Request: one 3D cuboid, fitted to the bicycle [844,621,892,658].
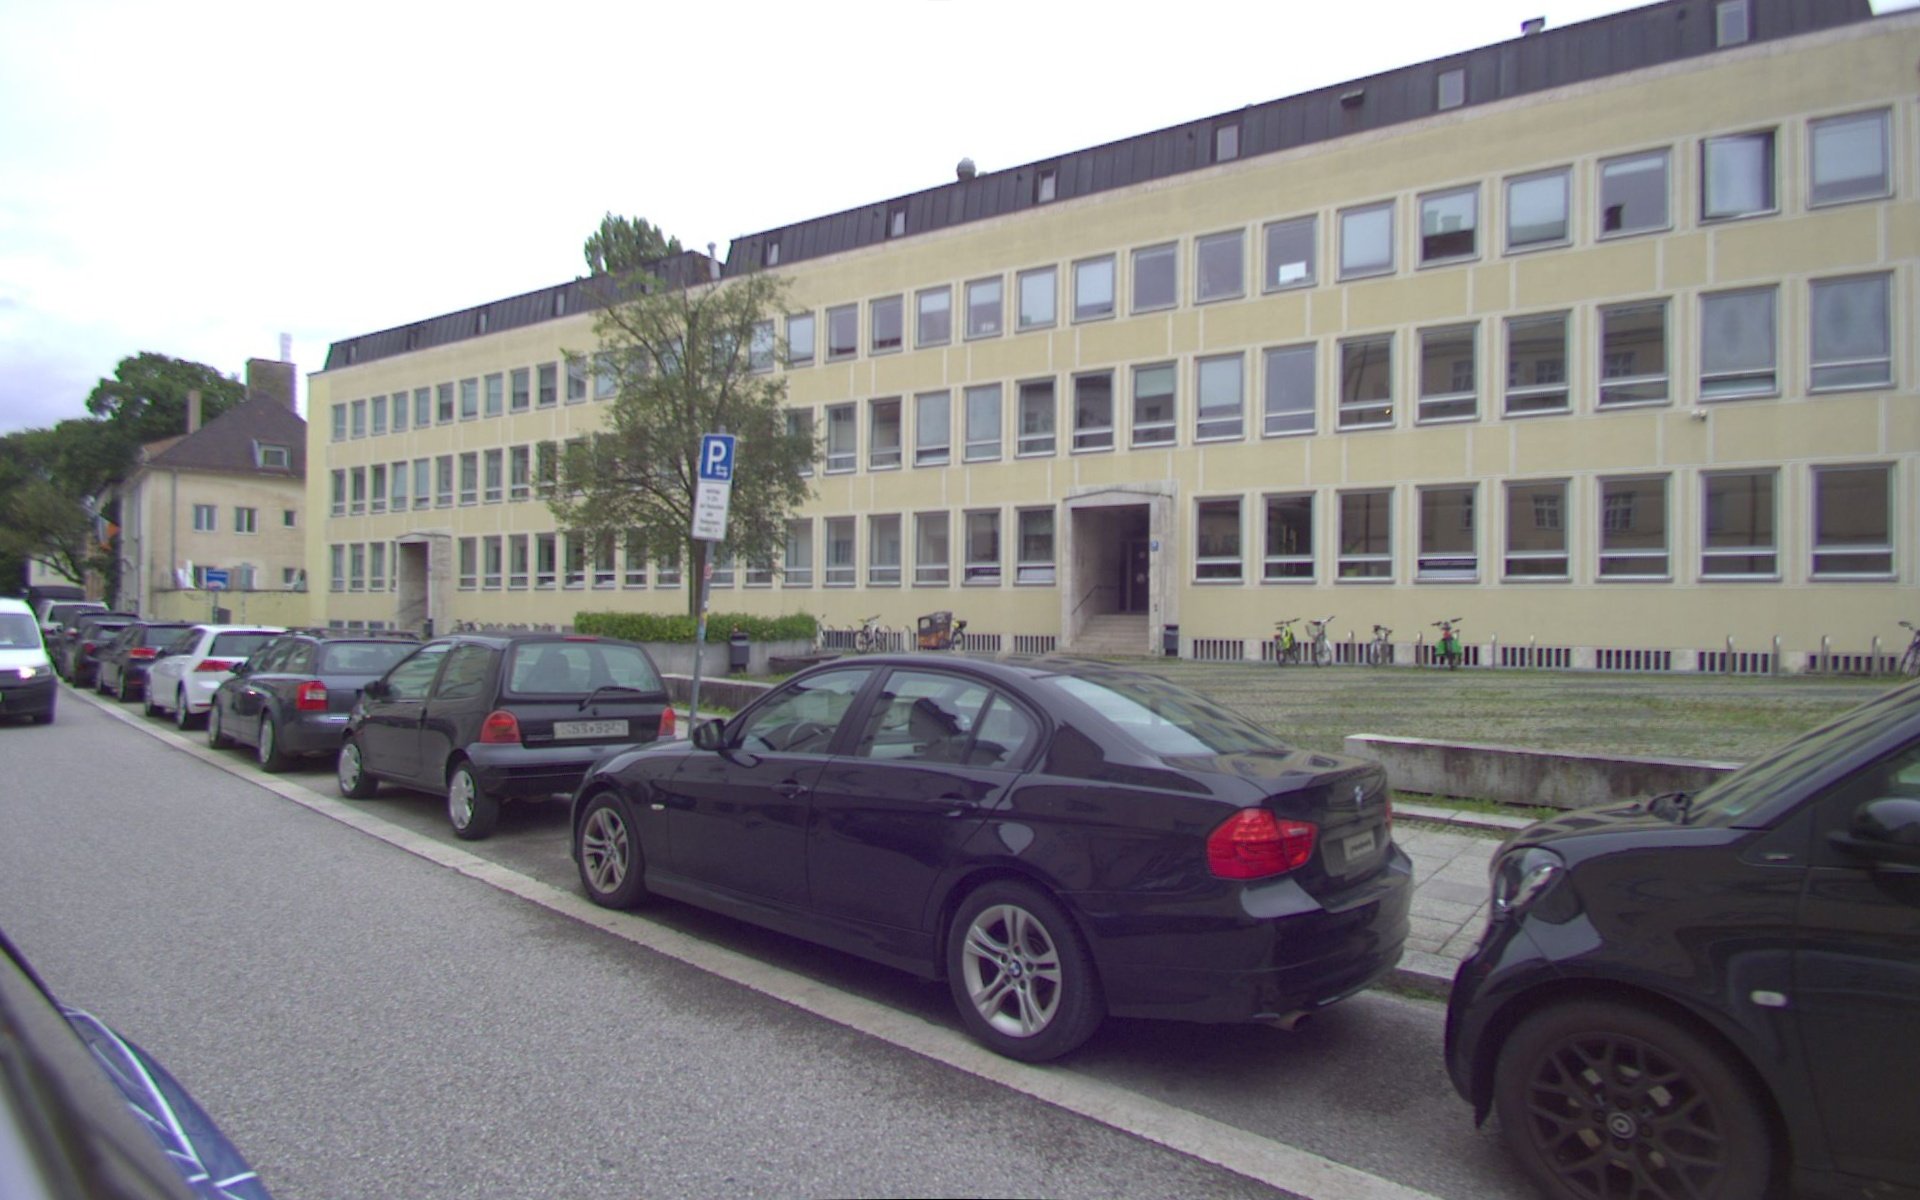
[{"bbox_3d":[-2.824,1.213,31.284,0.573,1.036,1.819,0,1,29],"label":"bicycle"}]

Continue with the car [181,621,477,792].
[{"bbox_3d":[-7.145,1.028,11.276,4.205,1.492,1.702,0,-2,43],"label":"car"}]

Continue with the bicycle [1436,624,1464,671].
[{"bbox_3d":[10.885,1.025,22.444,0.436,0.924,1.888,0,1,29],"label":"bicycle"}]

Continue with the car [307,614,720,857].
[{"bbox_3d":[-3.783,0.902,8.291,3.754,1.492,1.702,0,-2,43],"label":"car"}]

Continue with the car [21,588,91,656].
[{"bbox_3d":[-38.771,0.893,43.340,1.971,2.737,4.963,-1,1,-45],"label":"car"}]

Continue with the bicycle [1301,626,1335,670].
[{"bbox_3d":[8.459,1.109,23.862,0.436,0.924,1.888,0,1,29],"label":"bicycle"}]

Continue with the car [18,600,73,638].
[{"bbox_3d":[-54.134,1.074,59.843,2.184,2.098,4.963,-1,1,-45],"label":"car"}]

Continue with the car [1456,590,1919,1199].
[{"bbox_3d":[2.948,0.759,2.392,2.867,1.471,1.649,0,-3,41],"label":"car"}]

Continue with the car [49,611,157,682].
[{"bbox_3d":[-22.700,1.182,26.756,4.124,1.701,1.720,0,-2,44],"label":"car"}]

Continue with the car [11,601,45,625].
[{"bbox_3d":[-87.628,1.185,95.112,2.184,2.098,4.963,-1,1,-45],"label":"car"}]

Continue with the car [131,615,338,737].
[{"bbox_3d":[-10.958,1.043,15.185,4.000,1.541,1.702,0,-2,43],"label":"car"}]

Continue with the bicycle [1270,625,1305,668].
[{"bbox_3d":[7.848,1.092,24.215,0.436,0.924,1.888,0,1,29],"label":"bicycle"}]

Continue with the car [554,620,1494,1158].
[{"bbox_3d":[-0.020,0.849,4.755,4.210,1.374,1.703,0,-3,41],"label":"car"}]

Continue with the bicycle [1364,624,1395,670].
[{"bbox_3d":[9.635,1.061,23.209,0.436,0.924,1.888,0,1,29],"label":"bicycle"}]

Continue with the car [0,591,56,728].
[{"bbox_3d":[-14.566,0.766,14.687,1.858,1.785,4.928,2,-2,-45],"label":"car"}]

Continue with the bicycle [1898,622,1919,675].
[{"bbox_3d":[17.929,0.912,18.700,0.436,0.924,1.888,0,1,29],"label":"bicycle"}]

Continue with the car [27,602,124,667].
[{"bbox_3d":[-29.499,1.114,33.712,4.355,1.991,1.923,0,-2,43],"label":"car"}]

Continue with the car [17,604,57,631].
[{"bbox_3d":[-76.251,1.407,83.584,2.184,2.098,4.963,-1,1,-45],"label":"car"}]

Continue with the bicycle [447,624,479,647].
[{"bbox_3d":[-20.835,1.489,42.457,0.287,0.909,1.231,0,1,30],"label":"bicycle"}]

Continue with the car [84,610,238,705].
[{"bbox_3d":[-15.390,1.010,19.415,4.083,1.557,1.721,0,1,43],"label":"car"}]

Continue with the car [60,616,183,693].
[{"bbox_3d":[-18.822,1.151,22.677,3.687,1.478,1.721,0,1,44],"label":"car"}]
